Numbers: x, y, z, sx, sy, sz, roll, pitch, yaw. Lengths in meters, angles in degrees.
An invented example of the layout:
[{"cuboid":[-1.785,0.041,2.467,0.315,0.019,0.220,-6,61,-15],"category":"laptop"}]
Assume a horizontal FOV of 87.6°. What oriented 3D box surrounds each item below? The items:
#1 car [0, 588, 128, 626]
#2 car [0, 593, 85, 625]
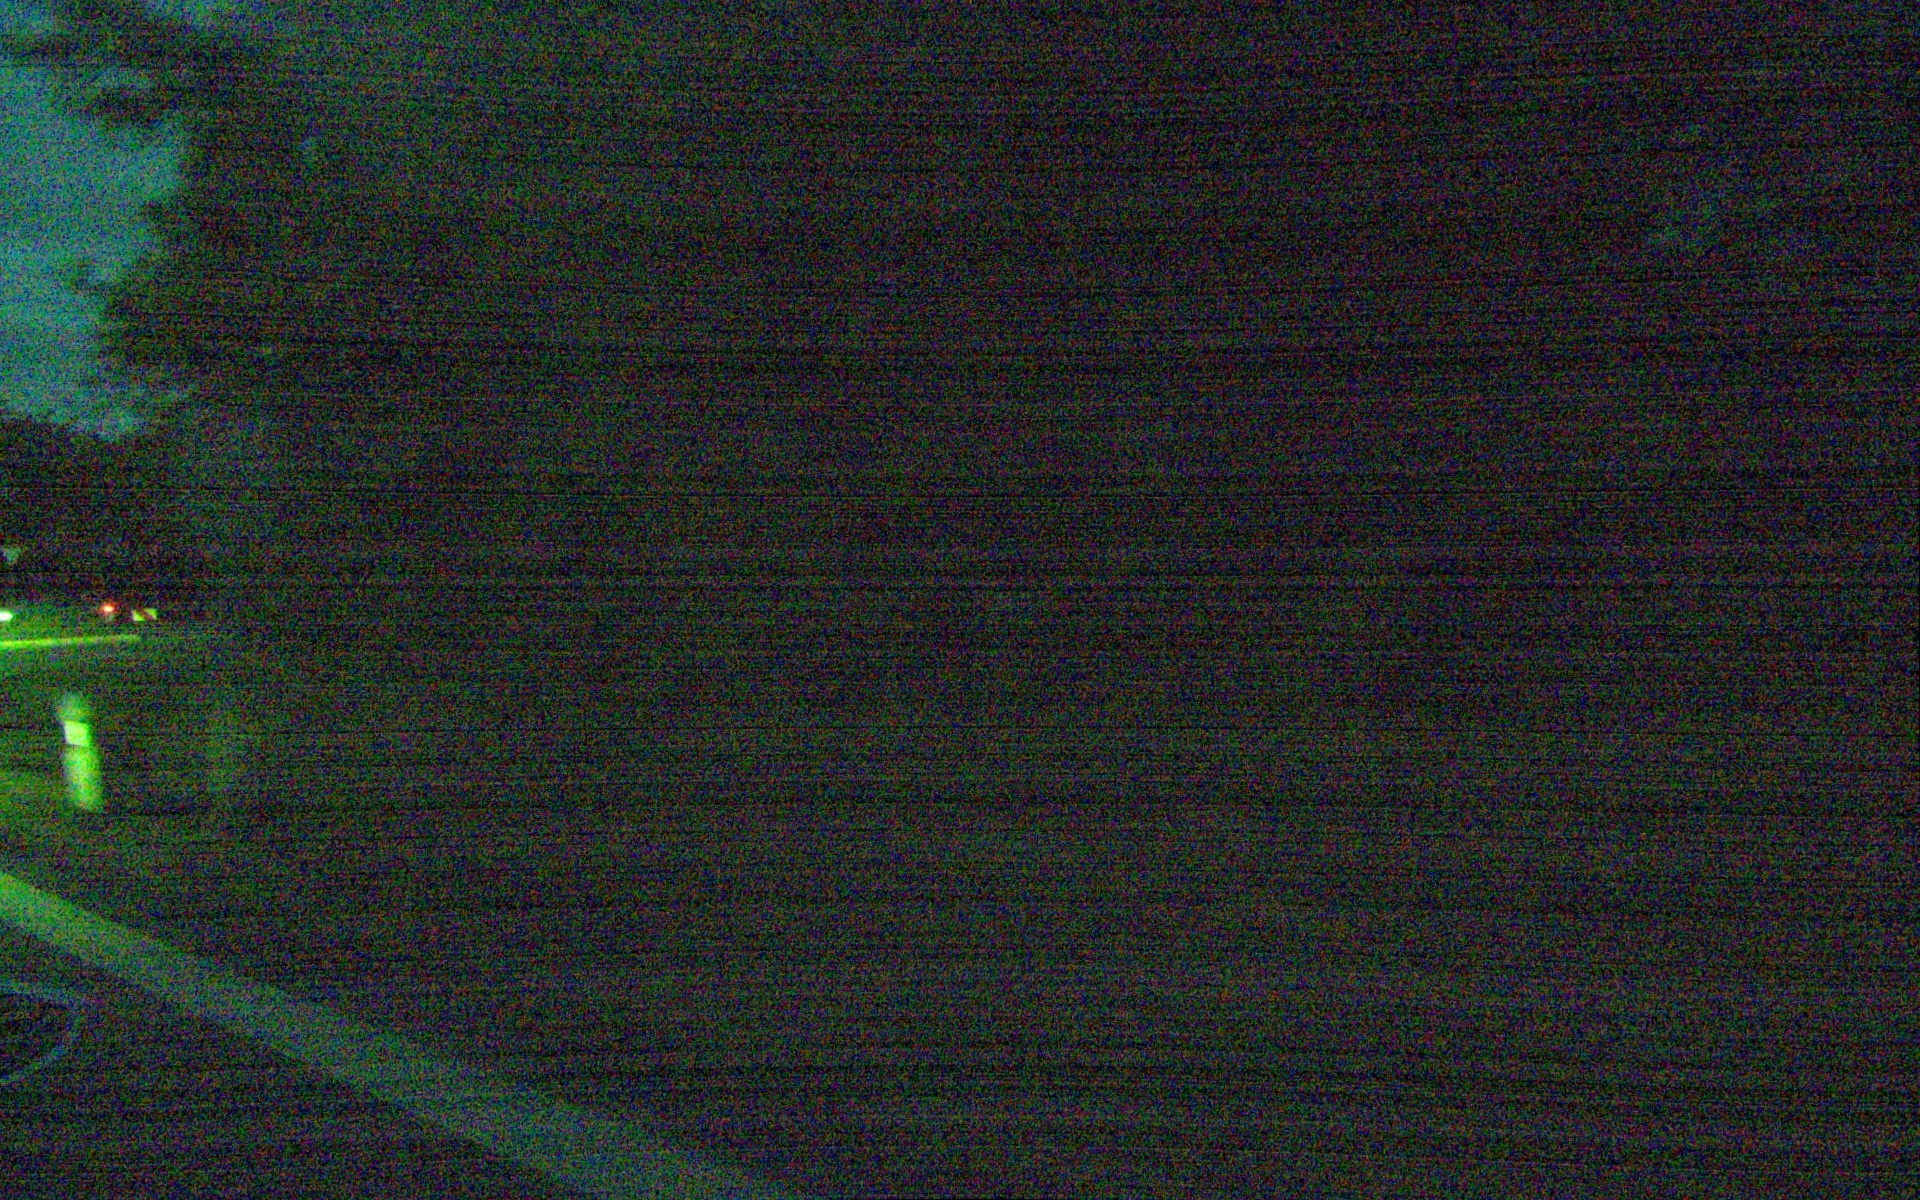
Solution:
[{"cuboid":[-42.501,0.348,47.127,1.964,1.704,4.866,0,-1,17],"category":"car"},{"cuboid":[-45.564,0.418,48.285,1.964,1.472,4.725,0,1,18],"category":"car"}]
